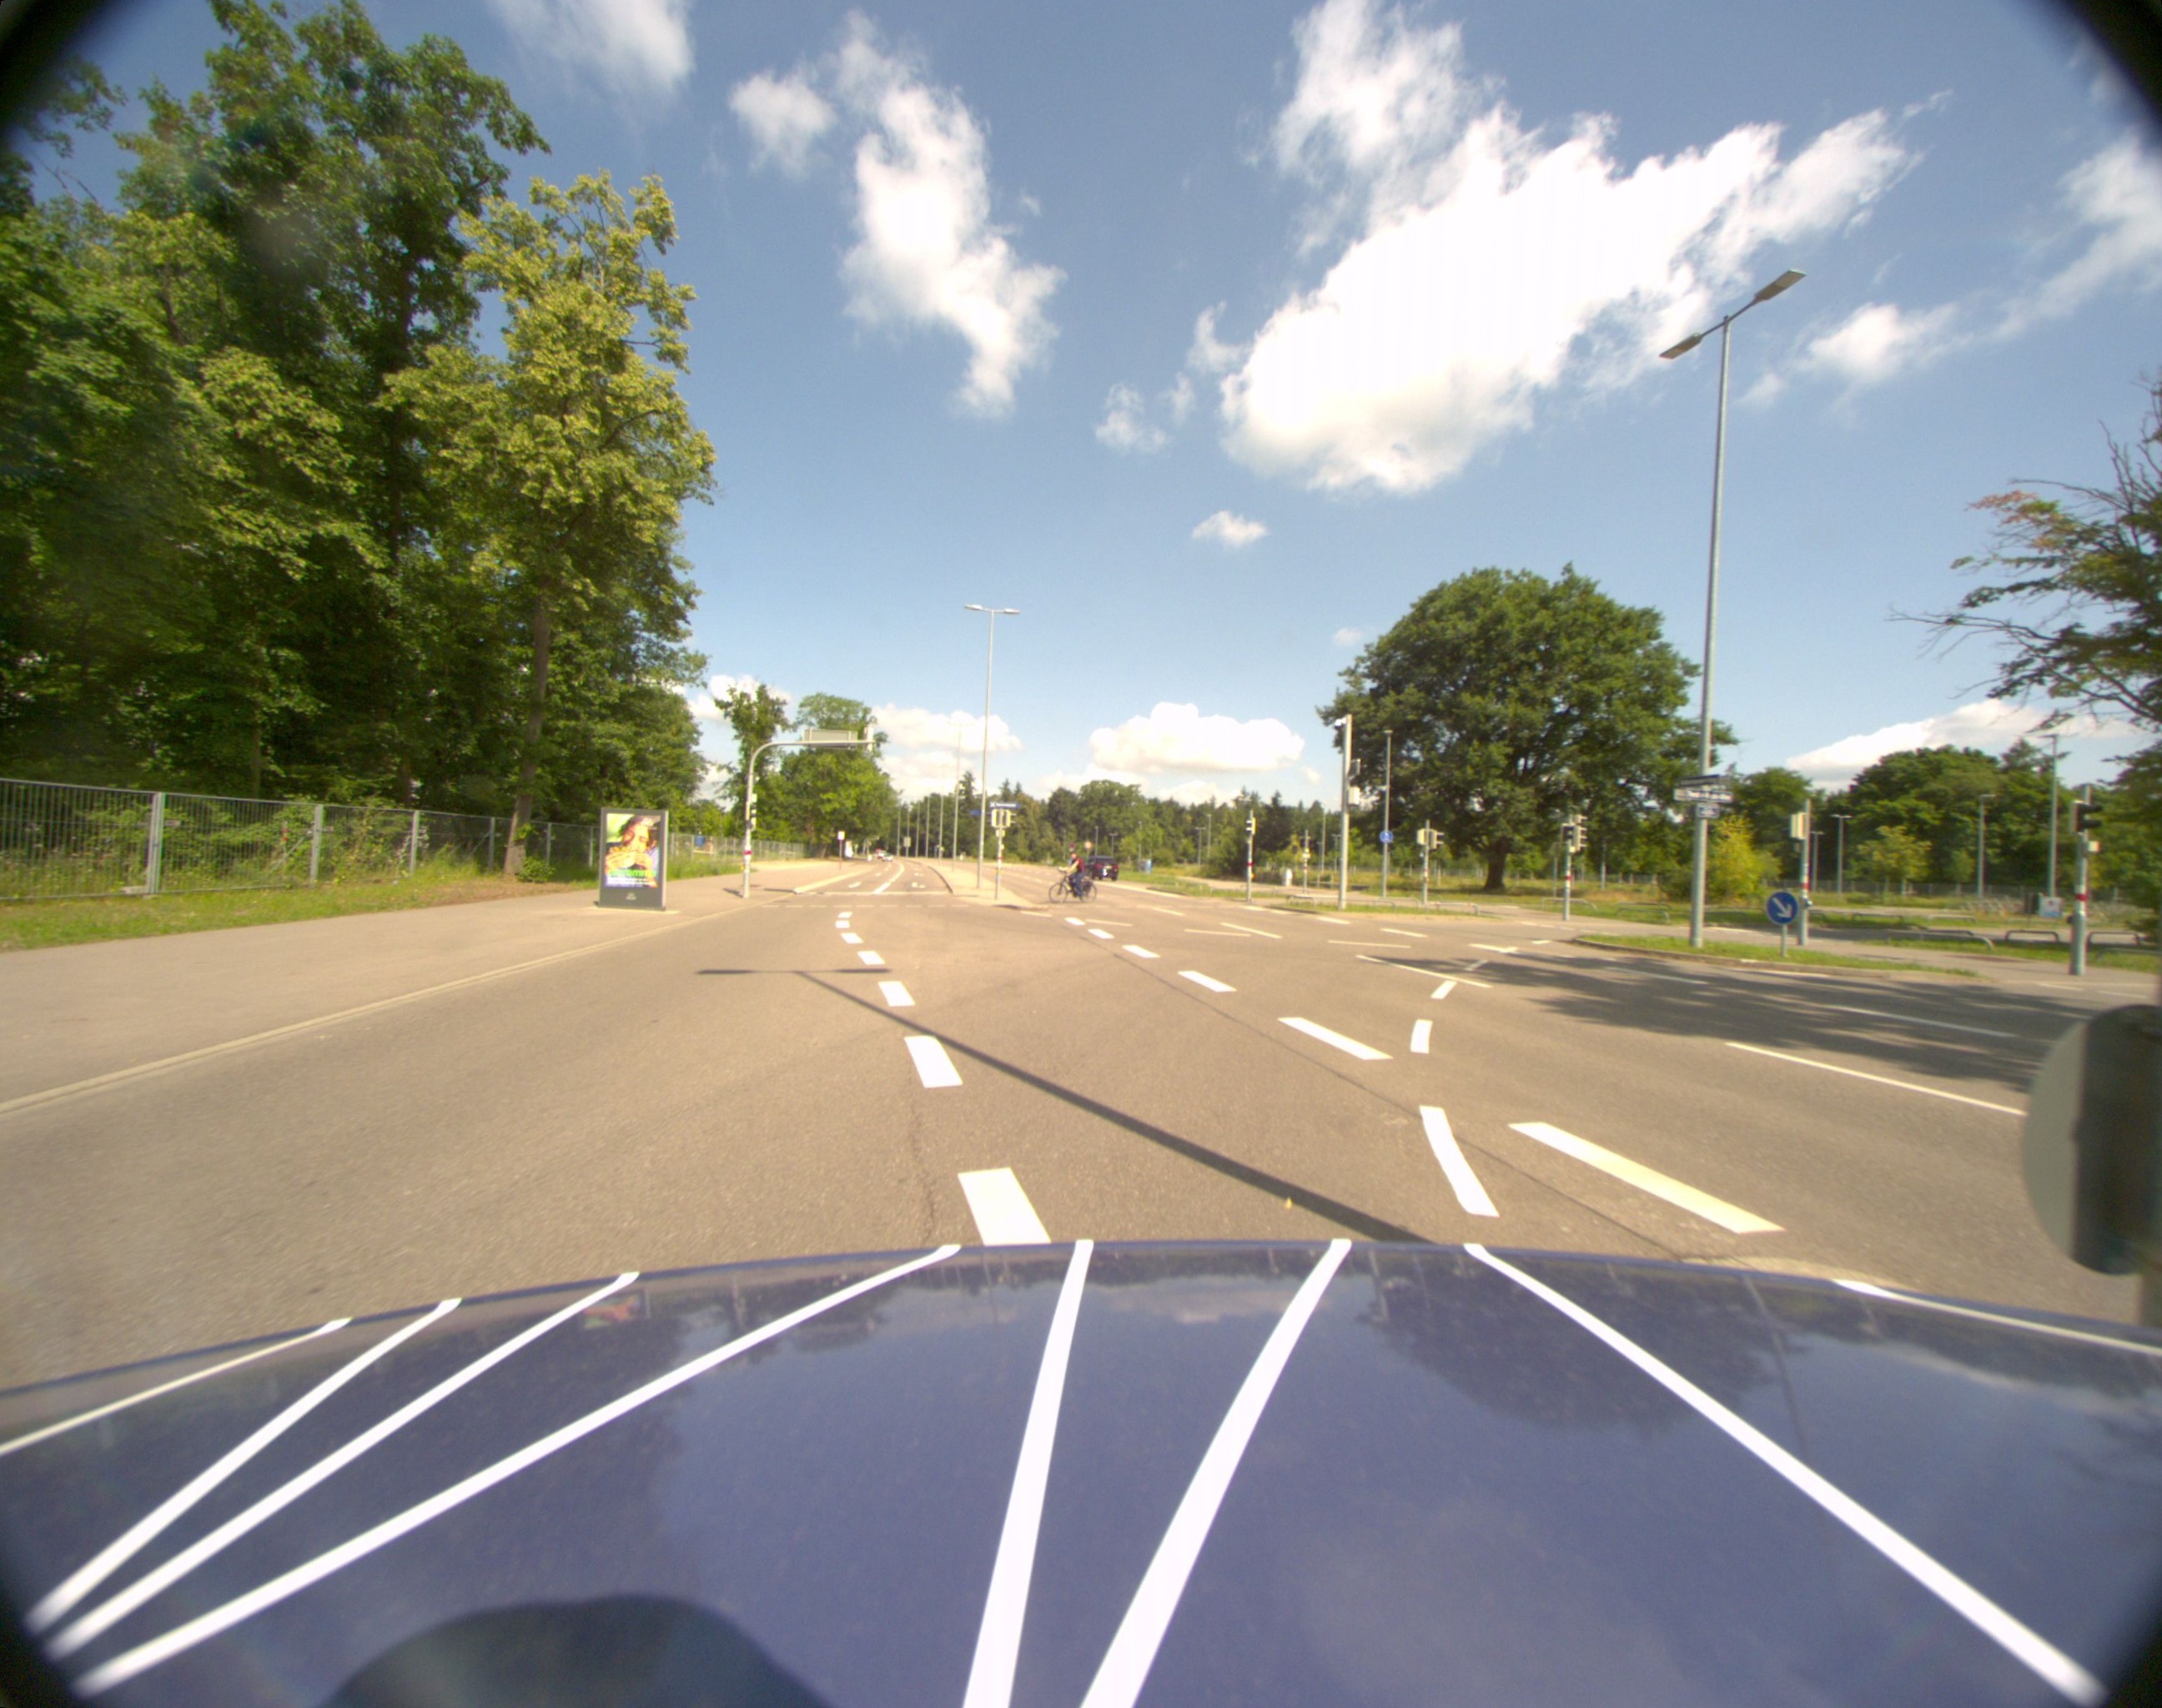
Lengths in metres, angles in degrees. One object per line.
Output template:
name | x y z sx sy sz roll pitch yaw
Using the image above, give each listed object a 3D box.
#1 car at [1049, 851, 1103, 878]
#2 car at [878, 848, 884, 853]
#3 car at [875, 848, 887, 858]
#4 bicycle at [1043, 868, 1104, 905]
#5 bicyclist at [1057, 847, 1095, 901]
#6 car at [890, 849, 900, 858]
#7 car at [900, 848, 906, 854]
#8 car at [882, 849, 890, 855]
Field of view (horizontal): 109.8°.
car | -0.401 0.712 52.730 1.984 1.754 4.697 1 0 -24
car | -59.504 -1.075 225.926 1.581 1.471 3.566 1 1 -13
car | -28.968 -0.126 110.190 1.581 1.471 3.566 1 1 -13
bicycle | -0.262 1.098 26.061 1.900 1.199 0.881 1 1 -28
bicyclist | -0.184 0.677 26.104 0.980 1.787 0.885 1 1 -27
car | -35.000 -0.110 142.999 1.582 1.471 3.565 1 1 -15
car | -48.180 -0.848 205.351 1.581 1.471 3.566 1 1 -13
car | -46.292 -0.451 180.255 1.581 1.471 3.566 1 1 -13
